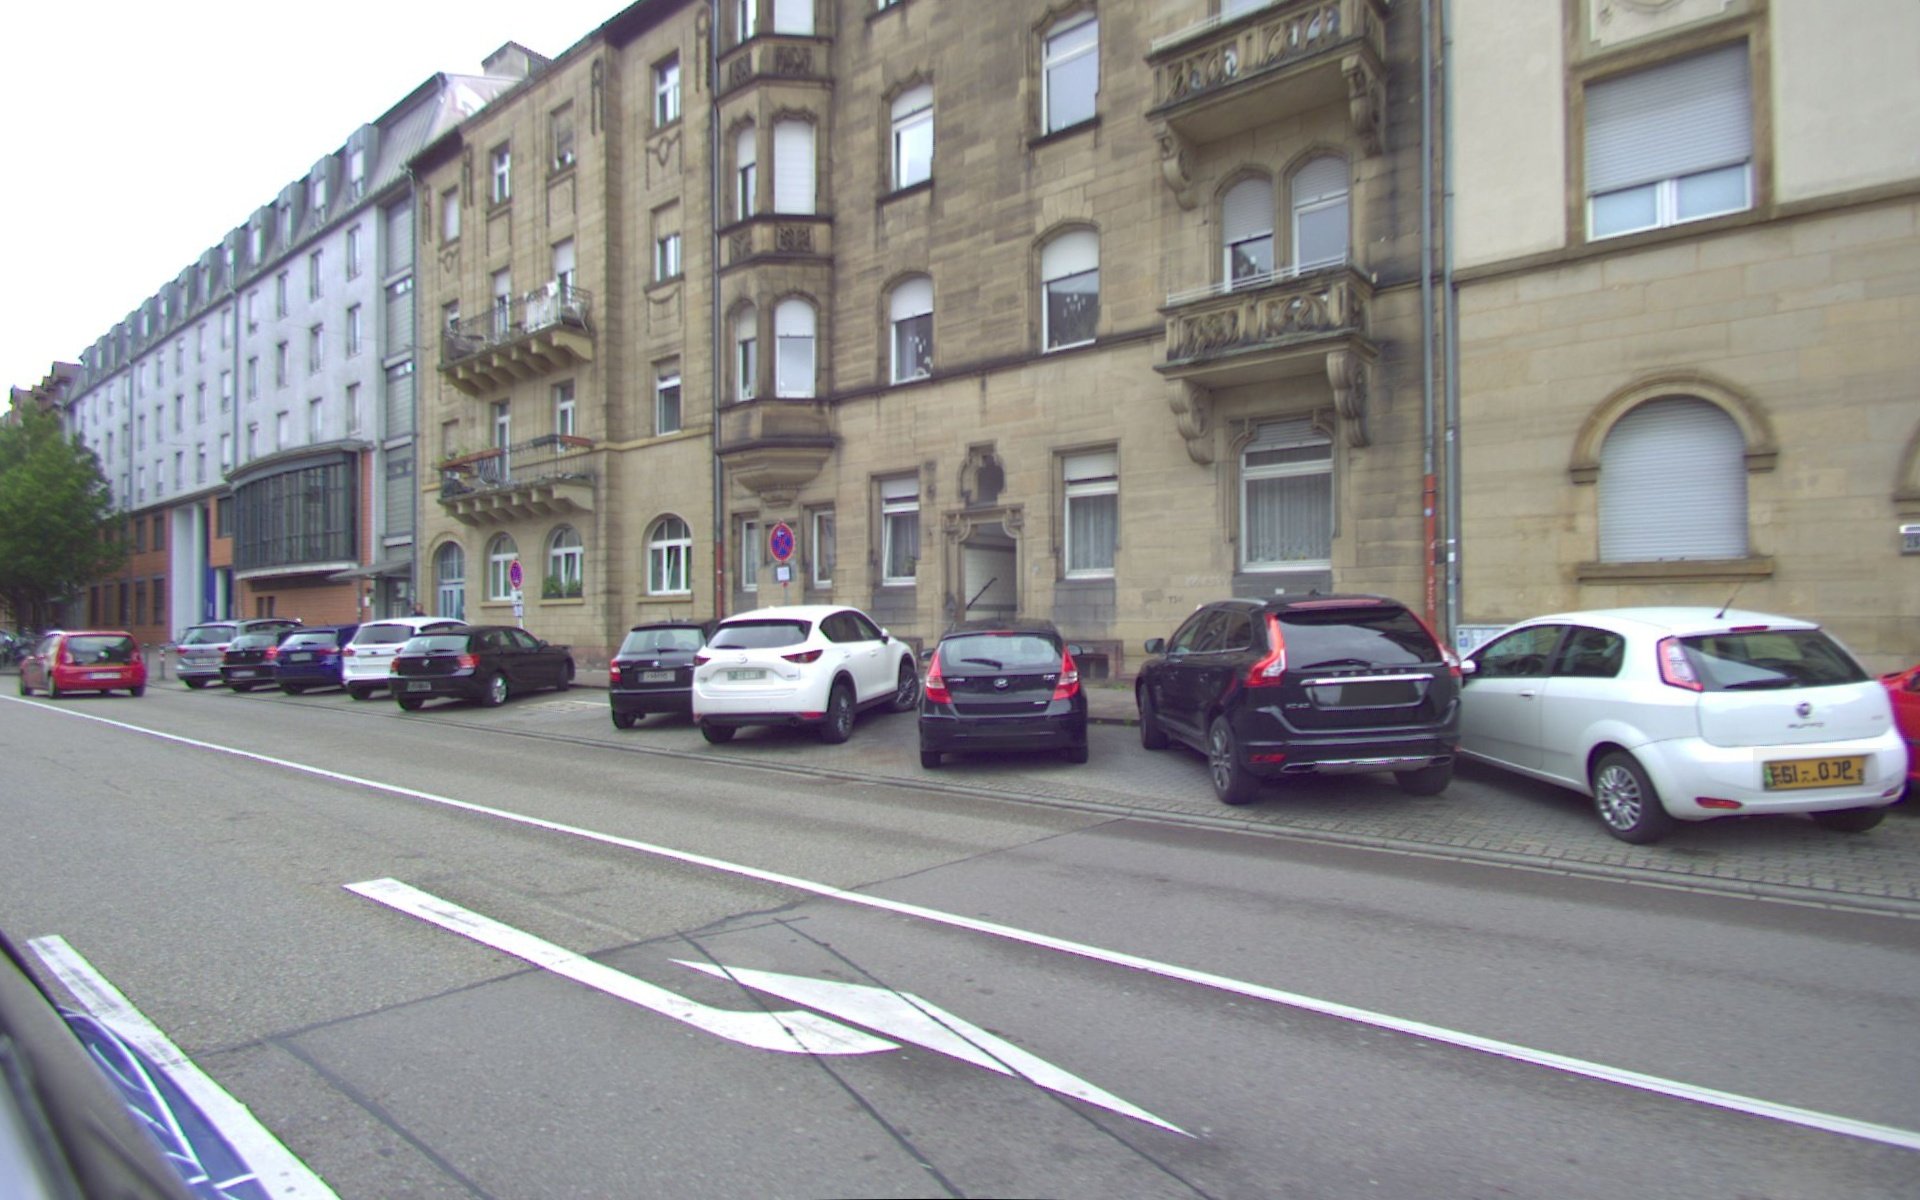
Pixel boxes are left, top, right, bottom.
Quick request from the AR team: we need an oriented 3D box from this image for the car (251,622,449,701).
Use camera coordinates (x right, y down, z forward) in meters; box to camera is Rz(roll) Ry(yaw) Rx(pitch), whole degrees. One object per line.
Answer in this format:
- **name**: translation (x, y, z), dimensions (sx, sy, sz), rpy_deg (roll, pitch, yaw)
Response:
- **car**: translation (-13.534, 1.305, 22.715), dimensions (1.803, 1.456, 3.738), rpy_deg (-2, 1, 9)

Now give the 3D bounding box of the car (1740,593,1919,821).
- **car**: translation (7.333, 0.706, 6.150), dimensions (1.657, 1.483, 4.008), rpy_deg (-2, 0, -9)

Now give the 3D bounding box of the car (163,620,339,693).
- **car**: translation (-18.132, 1.375, 26.120), dimensions (1.709, 1.565, 4.000), rpy_deg (-2, 1, 0)

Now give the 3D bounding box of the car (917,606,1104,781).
- **car**: translation (0.553, 0.900, 11.546), dimensions (1.708, 1.506, 3.997), rpy_deg (-2, 1, 2)

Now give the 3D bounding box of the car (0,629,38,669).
- **car**: translation (-40.545, 2.017, 41.292), dimensions (1.757, 1.641, 3.978), rpy_deg (-1, -2, 16)

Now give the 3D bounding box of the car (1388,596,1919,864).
- **car**: translation (5.062, 0.750, 7.906), dimensions (1.541, 1.483, 4.003), rpy_deg (-2, 1, -3)

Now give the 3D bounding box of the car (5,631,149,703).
- **car**: translation (-19.626, 1.436, 22.473), dimensions (3.503, 1.458, 1.635), rpy_deg (-2, -2, 35)

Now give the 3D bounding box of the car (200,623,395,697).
- **car**: translation (-15.707, 1.375, 24.274), dimensions (1.713, 1.449, 3.991), rpy_deg (-2, 1, 7)

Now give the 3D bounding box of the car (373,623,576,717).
- **car**: translation (-8.797, 1.206, 18.757), dimensions (1.640, 1.428, 3.995), rpy_deg (-1, 1, 4)

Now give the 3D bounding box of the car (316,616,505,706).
- **car**: translation (-11.334, 1.189, 21.215), dimensions (1.680, 1.565, 3.998), rpy_deg (-2, 1, 1)

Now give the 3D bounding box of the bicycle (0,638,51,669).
- **bicycle**: translation (-35.652, 2.031, 38.462), dimensions (0.416, 1.082, 1.610), rpy_deg (-2, 0, 38)

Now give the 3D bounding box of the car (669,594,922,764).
- **car**: translation (-1.977, 0.882, 13.477), dimensions (1.824, 1.736, 3.981), rpy_deg (-1, 3, 15)

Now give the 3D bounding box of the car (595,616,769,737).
- **car**: translation (-4.079, 1.056, 15.443), dimensions (1.548, 1.508, 3.811), rpy_deg (-1, 0, 1)

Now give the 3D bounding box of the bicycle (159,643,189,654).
- **bicycle**: translation (-36.021, 2.227, 46.365), dimensions (0.527, 0.440, 0.997), rpy_deg (1, -1, 41)

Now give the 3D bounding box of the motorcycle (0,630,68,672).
- **motorcycle**: translation (-32.592, 1.781, 35.323), dimensions (0.598, 1.363, 2.097), rpy_deg (-2, 0, 40)

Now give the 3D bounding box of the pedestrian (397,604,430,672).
- **pedestrian**: translation (-14.935, 1.040, 27.658), dimensions (0.641, 1.837, 0.614), rpy_deg (-2, -2, 40)

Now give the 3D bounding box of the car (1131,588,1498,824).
- **car**: translation (2.899, 0.771, 9.357), dimensions (1.706, 1.664, 4.228), rpy_deg (-1, -1, -3)

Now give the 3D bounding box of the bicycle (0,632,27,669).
- **bicycle**: translation (-34.475, 1.827, 36.158), dimensions (0.416, 1.299, 1.610), rpy_deg (-2, 0, 38)

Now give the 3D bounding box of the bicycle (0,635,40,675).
- **bicycle**: translation (-33.596, 1.942, 35.719), dimensions (0.416, 1.363, 1.610), rpy_deg (-2, 0, 38)

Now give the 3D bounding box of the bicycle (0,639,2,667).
- **bicycle**: translation (-37.368, 2.048, 38.281), dimensions (0.416, 1.082, 1.610), rpy_deg (-2, 0, 38)
